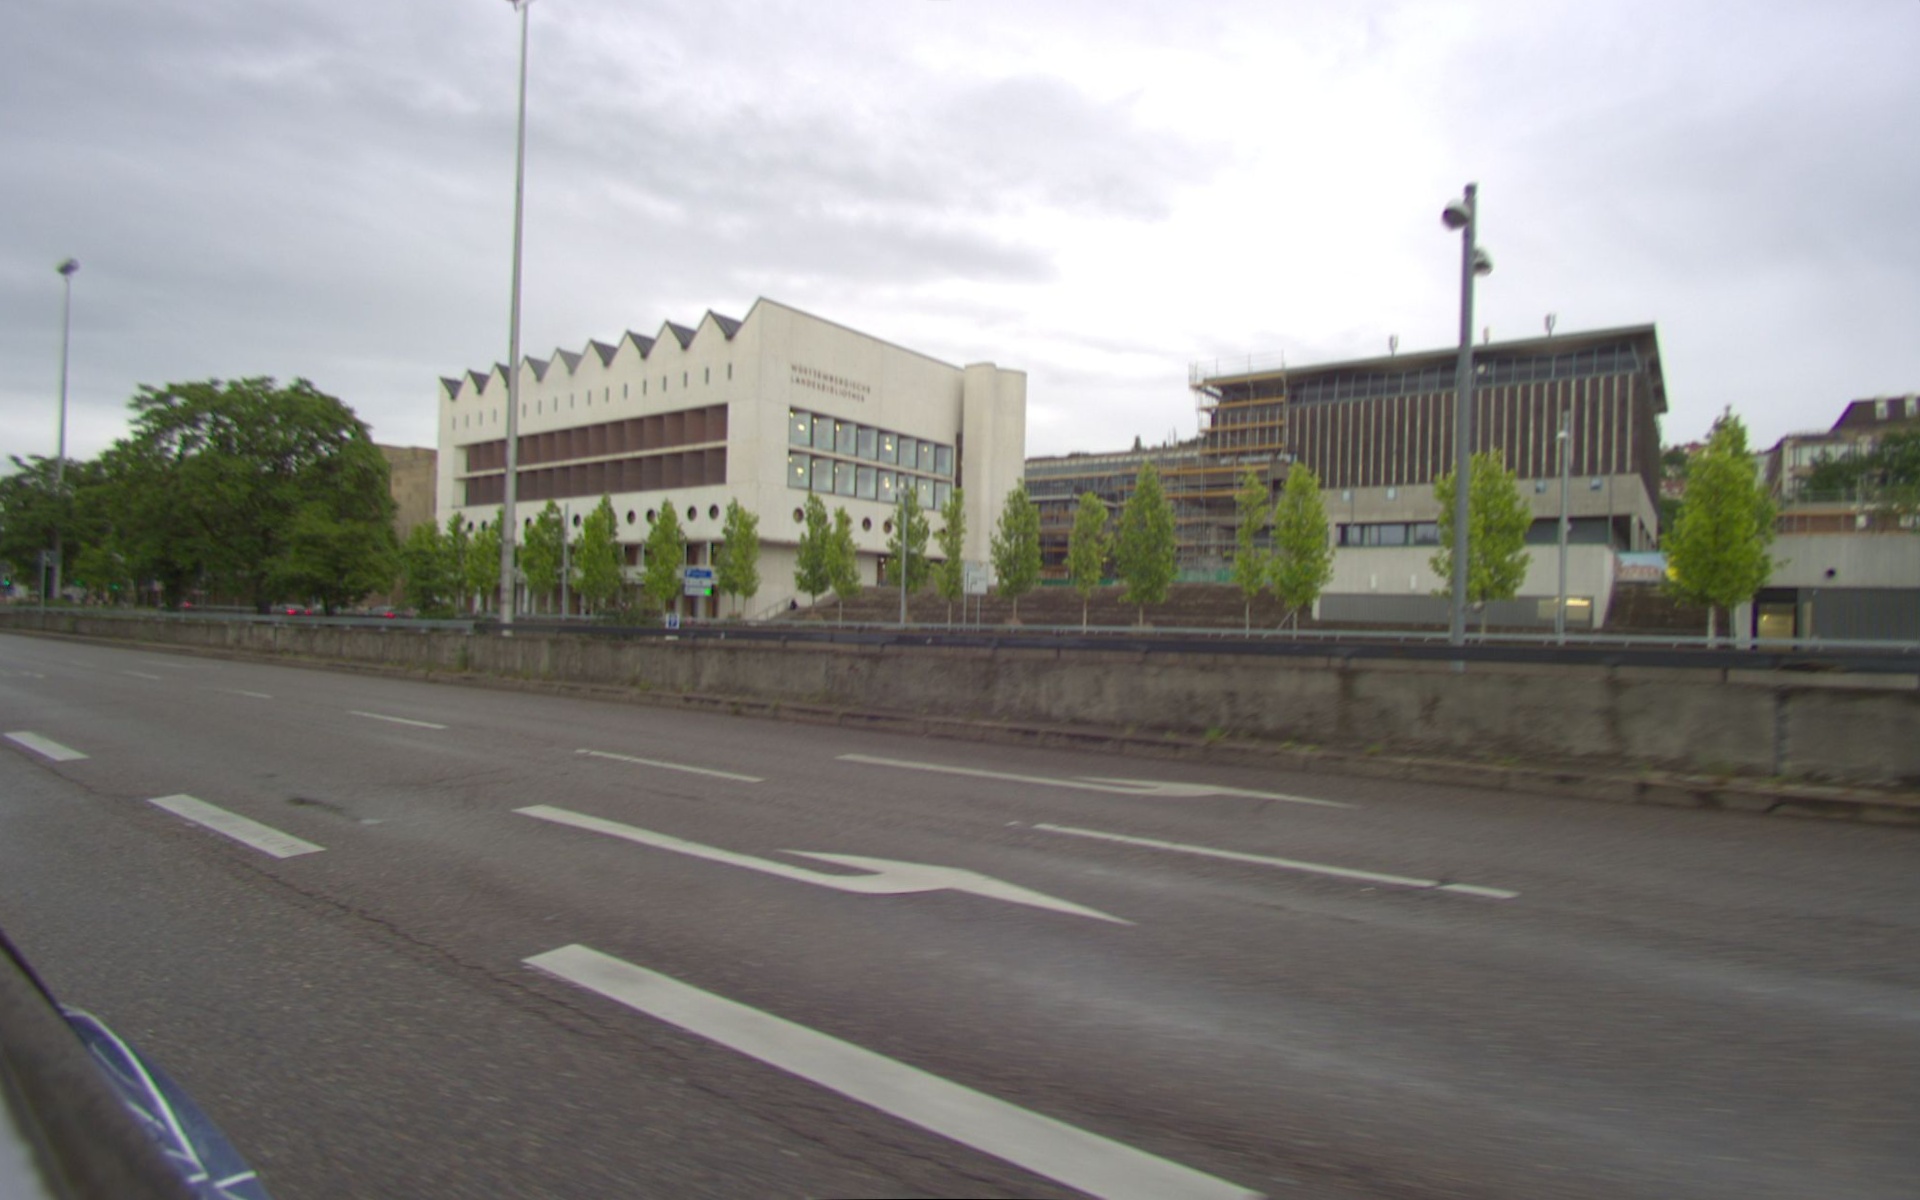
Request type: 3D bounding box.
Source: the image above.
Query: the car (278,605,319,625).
[{"bbox_3d":[-53.966,1.181,82.580,3.468,1.567,1.679,1,0,35],"label":"car"}]

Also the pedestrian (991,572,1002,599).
[{"bbox_3d":[2.782,-1.072,76.948,0.639,2.029,0.598,1,0,40],"label":"pedestrian"}]

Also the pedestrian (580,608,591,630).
[{"bbox_3d":[-31.662,1.620,85.480,0.728,1.873,0.703,1,0,-9],"label":"pedestrian"}]

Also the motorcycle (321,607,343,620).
[{"bbox_3d":[-61.501,1.326,99.114,0.603,1.191,1.801,1,0,25],"label":"motorcycle"}]

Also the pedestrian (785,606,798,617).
[{"bbox_3d":[-12.903,0.878,77.622,0.628,0.894,0.798,1,0,39],"label":"pedestrian"}]

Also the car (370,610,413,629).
[{"bbox_3d":[-40.536,1.392,72.124,3.539,1.236,1.550,1,0,40],"label":"car"}]

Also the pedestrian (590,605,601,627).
[{"bbox_3d":[-30.846,1.341,85.585,0.728,1.873,0.703,1,0,-9],"label":"pedestrian"}]

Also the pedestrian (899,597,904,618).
[{"bbox_3d":[-4.533,0.559,78.267,0.307,1.585,0.316,0,0,-33],"label":"pedestrian"}]
